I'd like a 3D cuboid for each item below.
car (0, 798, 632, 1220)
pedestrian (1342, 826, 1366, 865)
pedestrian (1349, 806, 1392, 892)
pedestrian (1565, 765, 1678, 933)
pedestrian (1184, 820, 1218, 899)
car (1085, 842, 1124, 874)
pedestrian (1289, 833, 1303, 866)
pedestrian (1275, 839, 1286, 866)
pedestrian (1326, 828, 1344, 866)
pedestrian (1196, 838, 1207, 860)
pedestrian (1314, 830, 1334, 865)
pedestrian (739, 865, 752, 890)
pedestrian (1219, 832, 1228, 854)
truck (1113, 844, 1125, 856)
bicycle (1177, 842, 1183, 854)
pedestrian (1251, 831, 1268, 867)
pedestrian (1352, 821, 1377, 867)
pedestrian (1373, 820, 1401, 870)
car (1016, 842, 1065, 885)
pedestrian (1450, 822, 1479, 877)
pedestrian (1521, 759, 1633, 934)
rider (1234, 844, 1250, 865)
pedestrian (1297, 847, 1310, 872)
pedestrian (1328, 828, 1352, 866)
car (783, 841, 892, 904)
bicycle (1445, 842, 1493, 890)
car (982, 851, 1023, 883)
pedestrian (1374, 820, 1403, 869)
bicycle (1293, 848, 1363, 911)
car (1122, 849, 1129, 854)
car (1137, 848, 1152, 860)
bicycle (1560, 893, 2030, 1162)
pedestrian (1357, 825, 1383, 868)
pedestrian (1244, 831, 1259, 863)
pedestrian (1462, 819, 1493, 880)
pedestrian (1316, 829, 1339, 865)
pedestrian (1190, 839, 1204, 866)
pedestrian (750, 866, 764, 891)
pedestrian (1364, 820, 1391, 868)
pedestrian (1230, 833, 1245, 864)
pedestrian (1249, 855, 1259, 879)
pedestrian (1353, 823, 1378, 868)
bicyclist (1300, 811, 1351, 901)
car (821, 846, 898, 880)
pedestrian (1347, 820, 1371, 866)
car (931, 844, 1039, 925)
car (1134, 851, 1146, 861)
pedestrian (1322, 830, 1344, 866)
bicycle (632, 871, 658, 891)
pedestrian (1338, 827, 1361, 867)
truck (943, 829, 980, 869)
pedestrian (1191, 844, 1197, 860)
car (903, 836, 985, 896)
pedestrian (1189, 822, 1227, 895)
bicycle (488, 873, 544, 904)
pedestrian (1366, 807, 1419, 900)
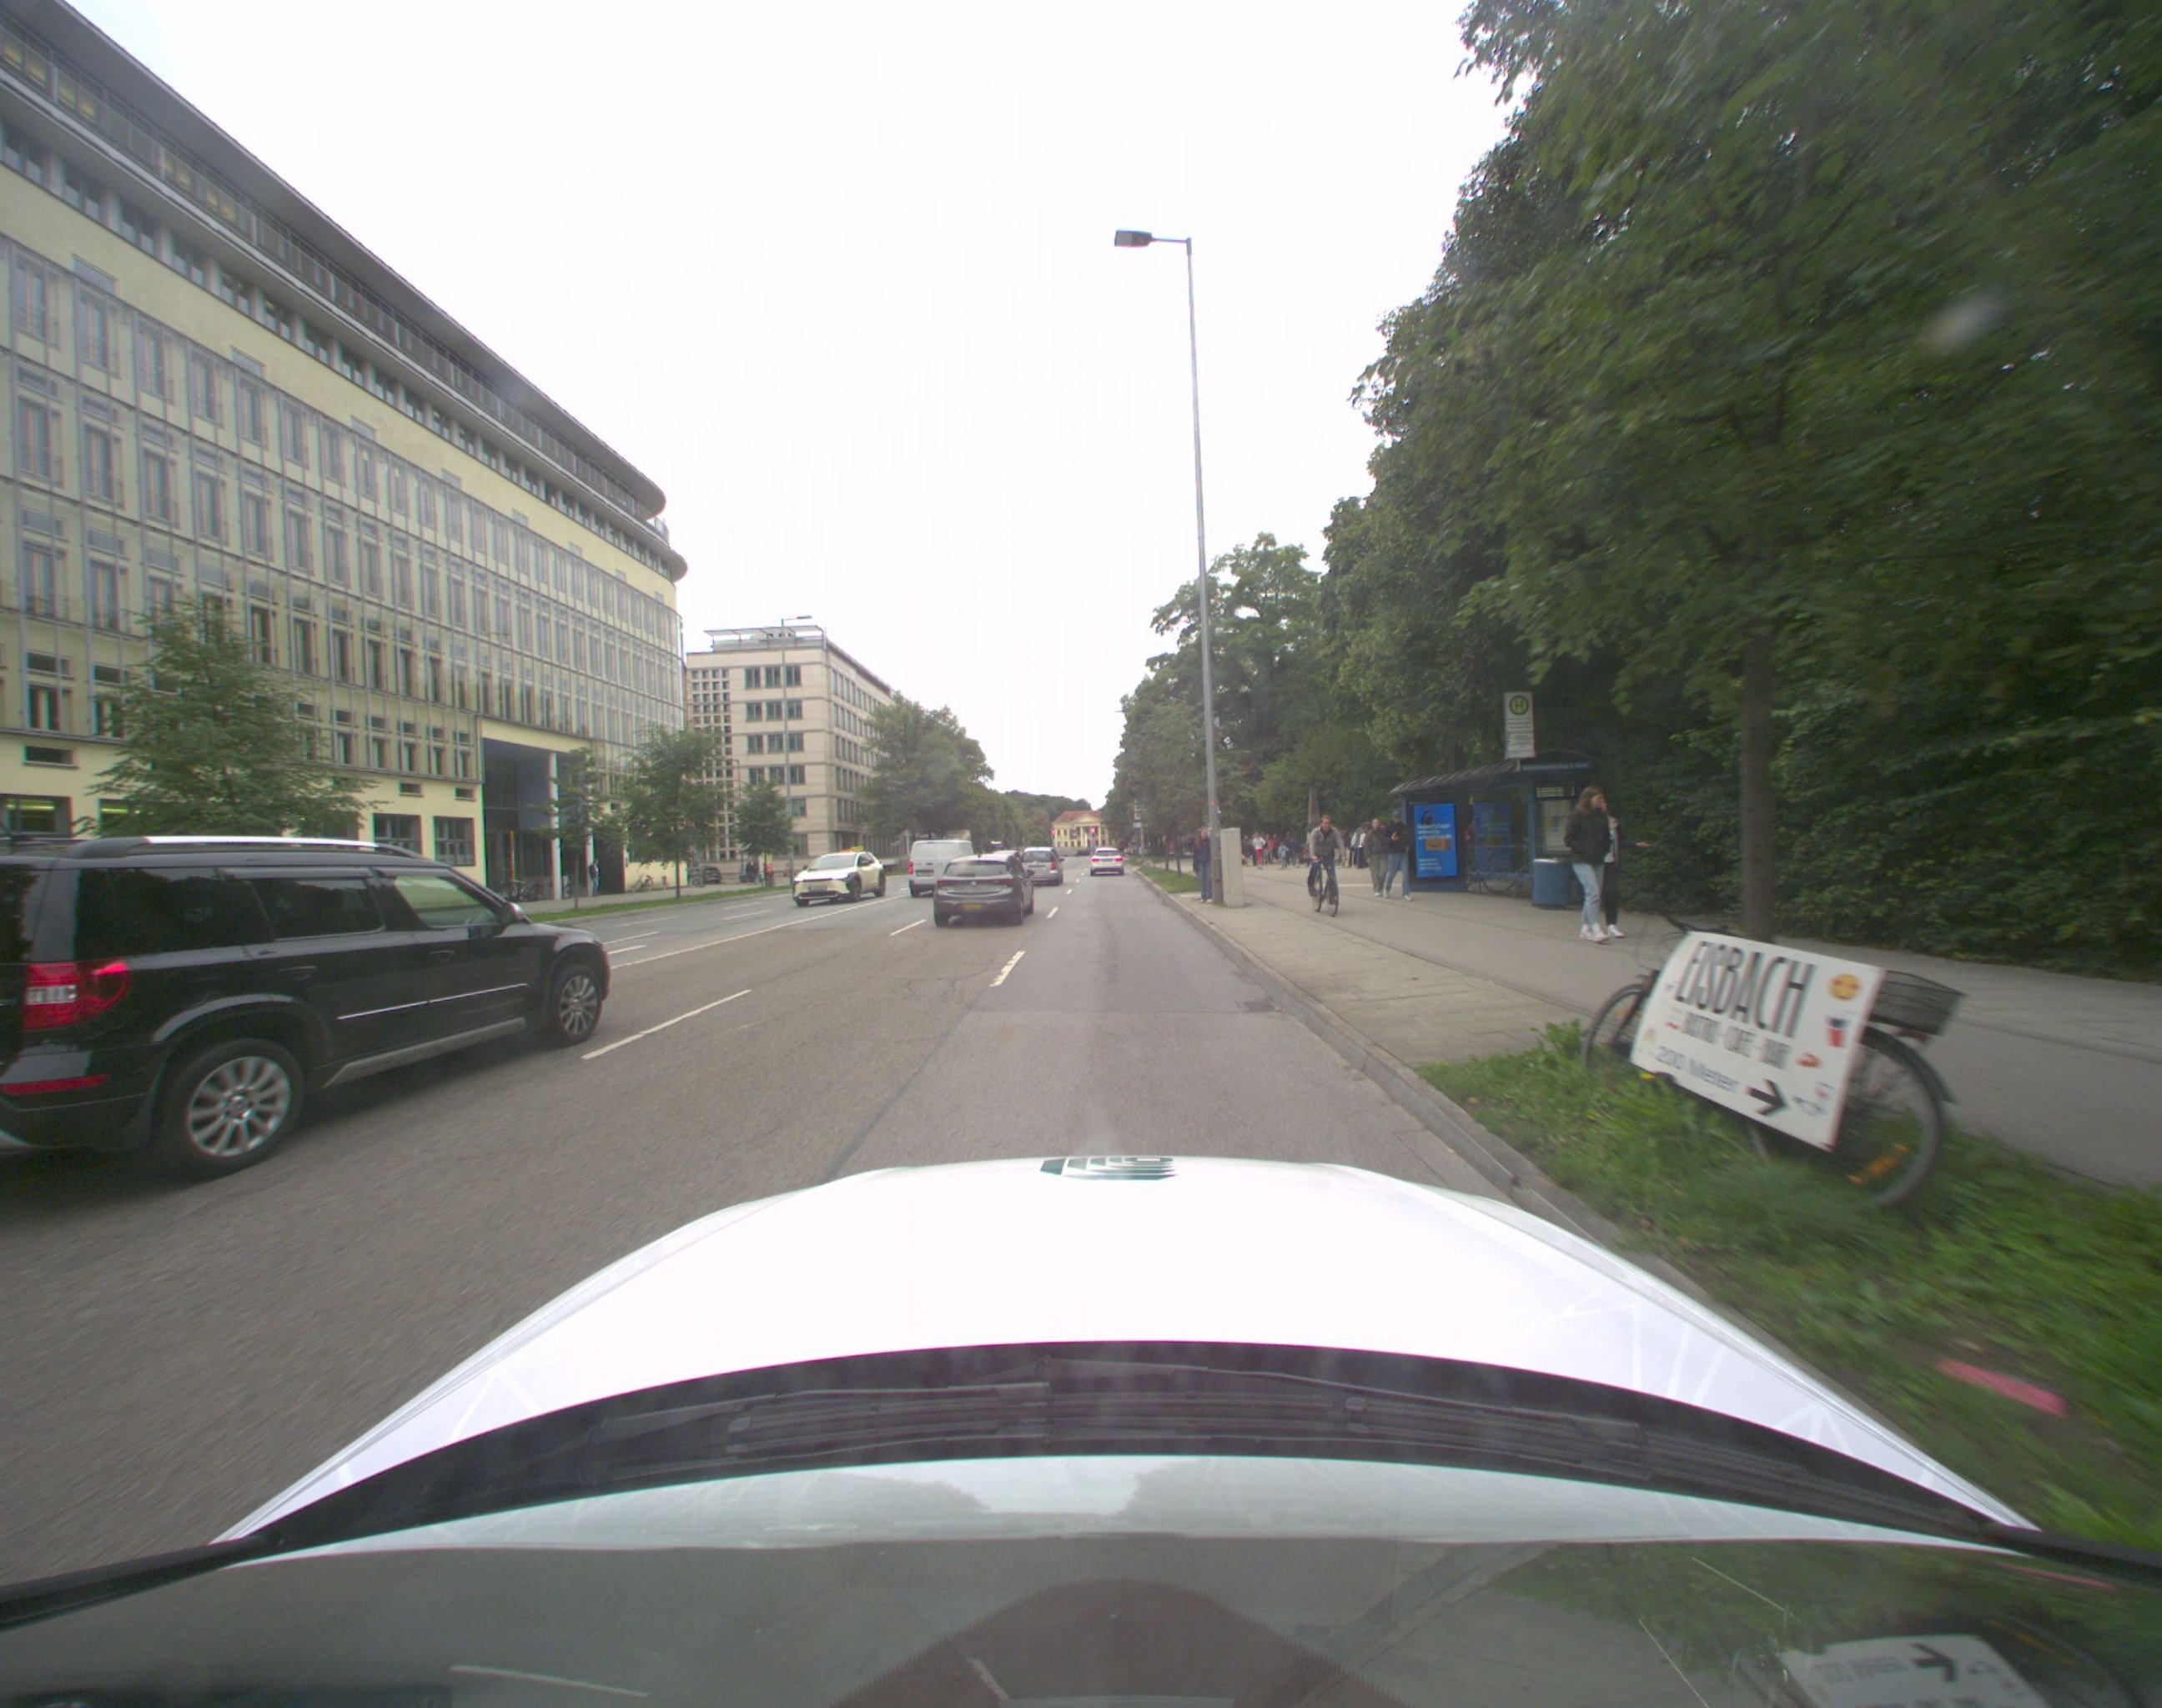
[{"bbox_3d":[-4.990,0.640,5.271,1.716,1.636,4.205,-2,0,1],"label":"car"},{"bbox_3d":[11.943,-0.359,35.602,0.808,1.690,0.729,-1,0,4],"label":"pedestrian"},{"bbox_3d":[6.273,-0.106,17.673,0.705,1.808,0.639,-1,0,1],"label":"pedestrian"},{"bbox_3d":[6.445,-0.058,9.760,0.705,1.915,0.957,-1,0,1],"label":"pedestrian"},{"bbox_3d":[2.790,0.131,18.981,0.705,1.808,0.639,-1,0,1],"label":"pedestrian"},{"bbox_3d":[1.243,0.198,44.116,1.775,1.644,3.995,-1,0,-3],"label":"car"},{"bbox_3d":[10.260,-0.209,38.814,0.546,1.527,0.649,-1,0,6],"label":"pedestrian"},{"bbox_3d":[9.634,-0.070,39.313,0.455,1.326,0.649,-1,0,6],"label":"pedestrian"},{"bbox_3d":[11.217,-0.303,35.976,0.589,1.690,0.729,-1,0,4],"label":"pedestrian"},{"bbox_3d":[9.996,-0.413,67.366,0.749,1.737,0.853,-1,0,17],"label":"pedestrian"},{"bbox_3d":[12.141,-0.325,40.681,0.808,1.690,0.729,-1,0,4],"label":"pedestrian"},{"bbox_3d":[-24.805,1.738,60.202,0.679,1.775,0.675,-1,0,5],"label":"pedestrian"},{"bbox_3d":[11.926,-0.907,68.079,0.585,1.822,0.850,-1,0,2],"label":"pedestrian"},{"bbox_3d":[11.028,-1.107,238.724,3.313,3.367,8.666,-1,0,2],"label":"truck"},{"bbox_3d":[8.998,-0.530,74.259,0.383,1.021,2.080,-1,0,2],"label":"bicycle"},{"bbox_3d":[8.449,-0.254,38.612,0.722,1.690,0.649,-1,0,6],"label":"pedestrian"},{"bbox_3d":[11.866,-0.411,34.121,0.808,1.874,0.729,-1,0,4],"label":"pedestrian"},{"bbox_3d":[11.677,-0.341,31.105,0.808,1.851,0.729,-1,0,4],"label":"pedestrian"},{"bbox_3d":[-1.634,0.372,34.049,1.773,1.654,4.001,-1,0,1],"label":"car"},{"bbox_3d":[11.490,-0.123,24.403,0.633,1.627,0.533,-1,0,4],"label":"pedestrian"},{"bbox_3d":[5.717,-0.080,9.438,0.705,1.915,0.957,-1,0,1],"label":"pedestrian"},{"bbox_3d":[8.698,0.019,43.976,0.761,1.112,1.246,-1,0,6],"label":"rider"},{"bbox_3d":[10.564,0.247,38.664,0.455,1.153,0.649,-1,0,6],"label":"pedestrian"},{"bbox_3d":[11.813,-0.331,37.153,0.808,1.690,0.729,-3,0,4],"label":"pedestrian"},{"bbox_3d":[-7.718,0.539,26.327,1.850,1.748,4.632,-4,0,2],"label":"car"},{"bbox_3d":[9.038,0.262,19.002,0.391,1.060,1.577,-1,0,2],"label":"bicycle"},{"bbox_3d":[-4.253,0.689,44.624,1.773,1.654,4.000,-1,0,1],"label":"car"},{"bbox_3d":[11.449,-0.345,30.308,0.808,1.768,0.729,-1,0,4],"label":"pedestrian"},{"bbox_3d":[4.332,0.416,14.444,0.672,1.030,2.013,-1,0,2],"label":"bicycle"},{"bbox_3d":[10.933,-0.624,200.632,1.717,1.324,4.030,-3,0,2],"label":"car"},{"bbox_3d":[9.017,-0.006,115.876,1.820,1.549,4.754,-3,0,2],"label":"car"},{"bbox_3d":[2.917,0.618,3.639,0.491,0.794,1.890,-1,0,2],"label":"bicycle"},{"bbox_3d":[11.584,-0.299,32.623,0.808,1.690,0.674,-1,0,4],"label":"pedestrian"},{"bbox_3d":[9.414,-0.383,44.905,0.722,1.690,0.649,-1,0,6],"label":"pedestrian"},{"bbox_3d":[11.527,-0.131,23.662,0.633,1.768,0.533,-1,0,4],"label":"pedestrian"},{"bbox_3d":[12.011,-0.331,39.699,0.808,1.690,0.729,-3,0,4],"label":"pedestrian"},{"bbox_3d":[7.139,-0.074,50.097,0.749,1.643,0.853,-1,0,17],"label":"pedestrian"},{"bbox_3d":[-24.016,1.800,60.434,0.679,1.775,0.785,-1,0,6],"label":"pedestrian"},{"bbox_3d":[11.626,-0.387,31.899,0.808,1.851,0.729,-1,0,4],"label":"pedestrian"},{"bbox_3d":[8.648,-0.303,45.052,0.722,1.690,0.649,-1,0,6],"label":"pedestrian"},{"bbox_3d":[12.400,0.926,58.517,0.626,1.667,0.575,-1,0,17],"label":"pedestrian"},{"bbox_3d":[11.643,-0.343,33.346,0.808,1.790,0.729,-1,0,4],"label":"pedestrian"},{"bbox_3d":[4.346,0.037,14.507,0.705,1.562,0.639,-1,0,1],"label":"bicyclist"},{"bbox_3d":[-18.099,0.744,66.806,5.667,2.536,2.154,-2,0,-3],"label":"car"},{"bbox_3d":[11.909,-0.472,34.867,0.808,1.917,0.729,-1,0,4],"label":"pedestrian"},{"bbox_3d":[-1.966,0.598,17.832,1.703,1.552,4.003,-1,0,2],"label":"car"},{"bbox_3d":[9.289,0.337,128.072,1.717,1.464,4.778,-3,0,2],"label":"car"},{"bbox_3d":[12.022,-0.295,38.907,0.808,1.690,0.729,-2,0,4],"label":"pedestrian"},{"bbox_3d":[-23.540,1.464,44.022,0.571,1.013,1.592,-1,0,-2],"label":"bicycle"},{"bbox_3d":[11.983,-0.314,36.347,0.808,1.739,0.729,-1,0,4],"label":"pedestrian"},{"bbox_3d":[-12.037,-0.480,82.843,2.909,3.774,7.659,-1,0,-2],"label":"truck"},{"bbox_3d":[13.132,-0.216,94.892,0.627,1.774,0.783,-1,0,5],"label":"pedestrian"},{"bbox_3d":[-4.669,0.397,28.506,1.891,1.847,4.957,-2,0,1],"label":"car"},{"bbox_3d":[3.301,0.116,21.240,0.795,1.881,0.547,-1,0,37],"label":"pedestrian"},{"bbox_3d":[-25.252,1.543,36.410,2.004,1.318,0.574,-1,0,-4],"label":"bicycle"},{"bbox_3d":[6.263,-0.018,16.395,0.705,1.808,0.950,-1,0,1],"label":"pedestrian"}]
